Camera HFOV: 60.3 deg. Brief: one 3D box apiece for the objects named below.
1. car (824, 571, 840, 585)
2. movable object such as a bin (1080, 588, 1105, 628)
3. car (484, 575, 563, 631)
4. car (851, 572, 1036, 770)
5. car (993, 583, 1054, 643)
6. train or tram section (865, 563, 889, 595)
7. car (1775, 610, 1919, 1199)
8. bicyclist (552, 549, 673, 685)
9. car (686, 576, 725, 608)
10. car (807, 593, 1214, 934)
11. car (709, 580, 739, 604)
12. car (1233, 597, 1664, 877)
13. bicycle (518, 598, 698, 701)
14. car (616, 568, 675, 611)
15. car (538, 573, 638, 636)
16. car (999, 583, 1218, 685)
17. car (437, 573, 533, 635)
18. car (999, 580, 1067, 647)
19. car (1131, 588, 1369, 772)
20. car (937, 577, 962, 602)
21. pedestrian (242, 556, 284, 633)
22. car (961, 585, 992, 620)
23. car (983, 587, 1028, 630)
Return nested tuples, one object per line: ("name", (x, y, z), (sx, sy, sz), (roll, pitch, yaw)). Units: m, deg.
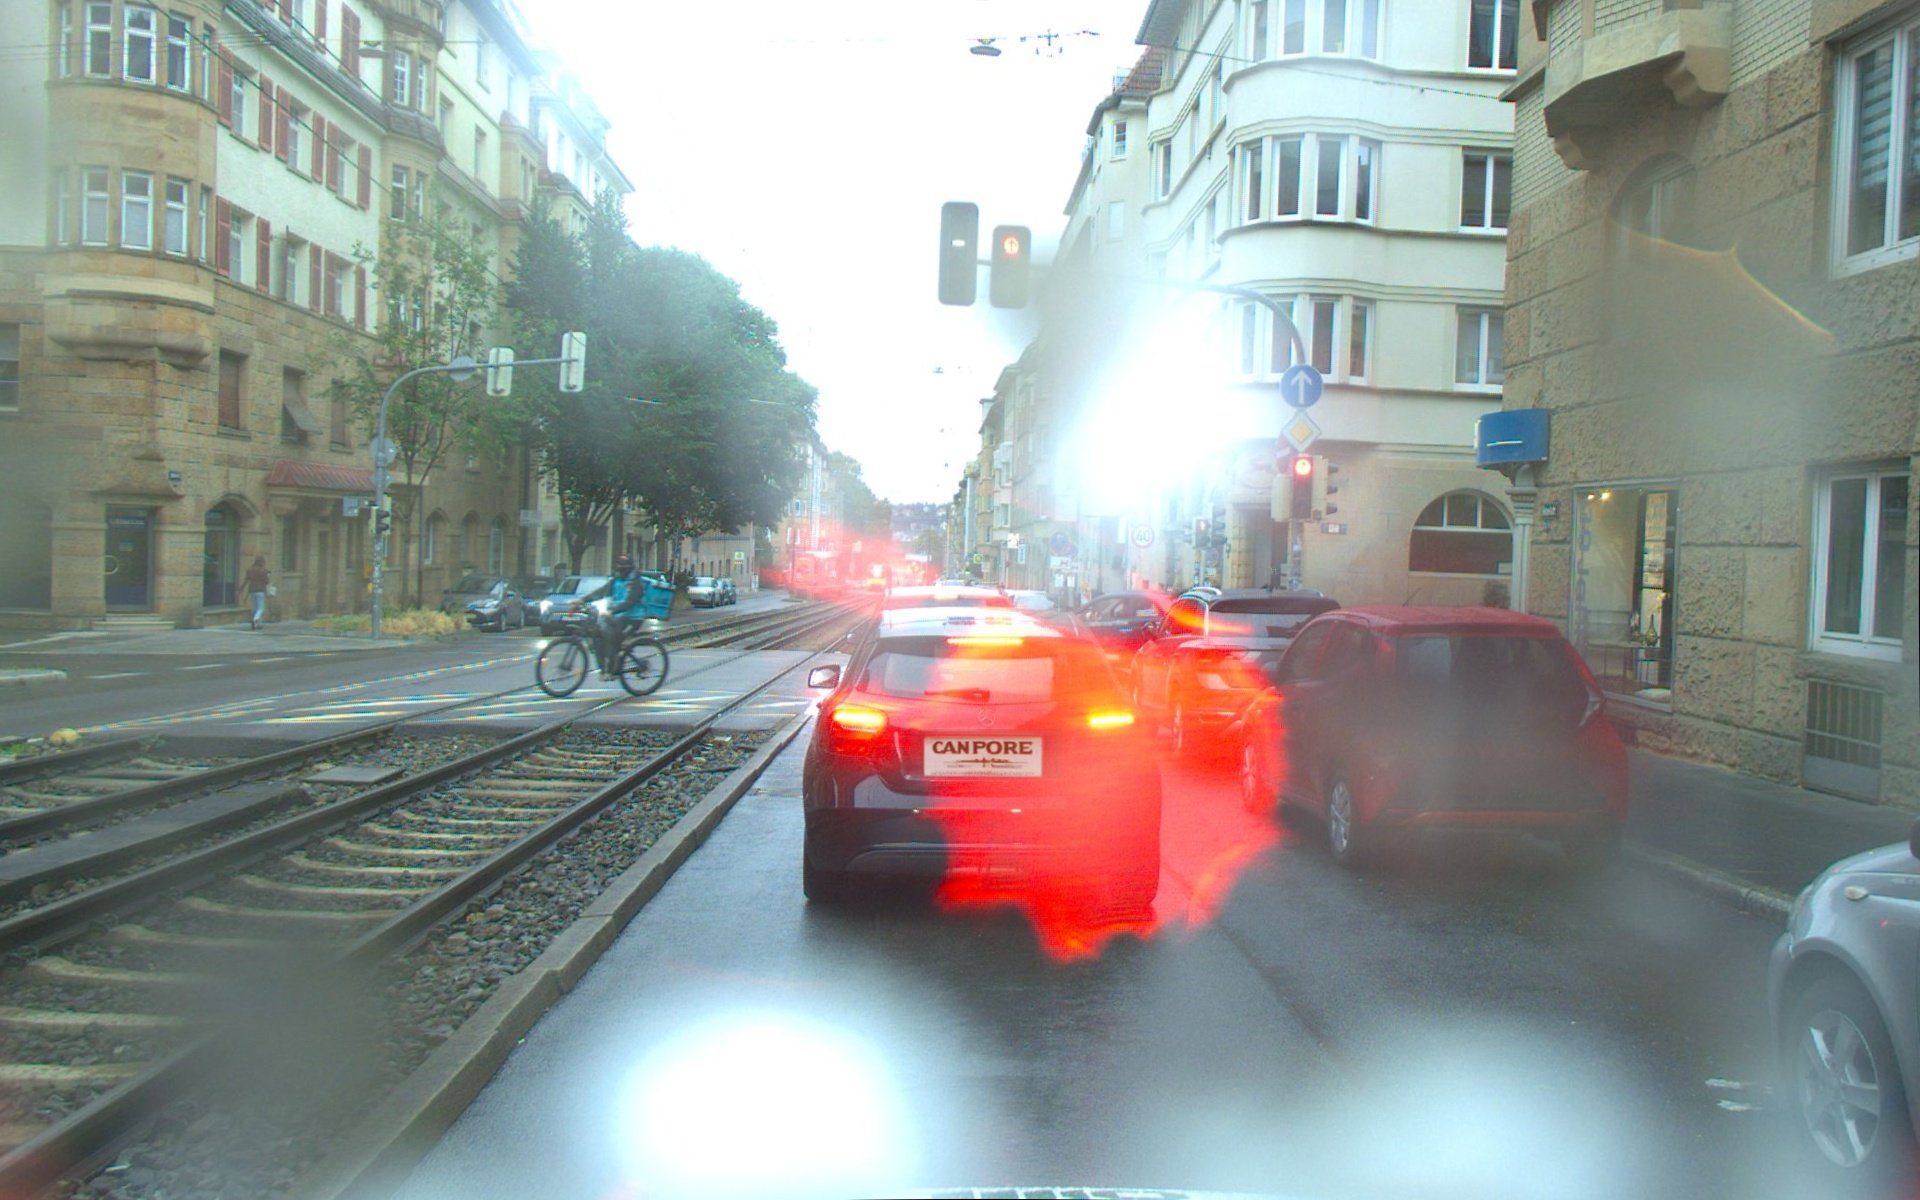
("car", (-12.297, -2.114, 158.992), (1.349, 1.271, 3.296), (1, 0, -2))
("movable object such as a bin", (4.764, 0.273, 59.644), (0.859, 1.413, 0.983), (1, -1, 3))
("car", (-13.276, 0.094, 50.520), (1.683, 1.639, 3.914), (1, 0, -5))
("car", (-0.171, 0.608, 15.834), (1.533, 1.637, 3.813), (1, 0, -1))
("car", (1.770, 0.354, 47.140), (1.513, 1.618, 3.547), (1, 0, -1))
("train or tram section", (-10.757, -2.666, 215.696), (2.726, 3.928, 10.427), (1, 0, -1))
("car", (3.130, 0.782, 3.101), (1.581, 1.493, 3.312), (0, 0, 0))
("bicyclist", (-4.297, 0.208, 20.447), (1.237, 1.625, 0.877), (1, -1, -32))
("car", (-13.660, -0.413, 88.964), (1.557, 1.608, 3.917), (1, 0, -1))
("car", (0.196, 0.726, 9.451), (1.792, 1.483, 4.103), (1, 0, -1))
("car", (-14.029, -0.473, 98.369), (1.419, 1.354, 3.270), (1, 0, -3))
("car", (2.911, 0.740, 10.561), (1.609, 1.473, 3.297), (1, 0, -3))
("bicycle", (-4.332, 0.600, 20.421), (2.011, 1.207, 0.817), (1, -1, -32))
("car", (-13.563, -0.436, 71.503), (1.837, 1.767, 3.917), (1, 0, -1))
("car", (-10.046, 0.129, 44.925), (1.860, 1.615, 3.972), (1, 0, -1))
("car", (2.656, 0.573, 29.531), (3.598, 1.664, 1.550), (1, 0, 20))
("car", (-13.011, 0.114, 45.494), (1.718, 1.579, 4.032), (1, 0, -4))
("car", (1.840, 0.330, 42.666), (1.513, 1.618, 3.547), (1, 0, -1))
("car", (2.635, 0.666, 15.796), (1.513, 1.512, 3.829), (1, 0, -1))
("car", (-0.855, -0.846, 133.666), (1.953, 1.909, 3.999), (1, 0, -1))
("pedestrian", (-15.695, -0.126, 37.238), (0.618, 1.702, 0.702), (1, -1, -1))
("car", (0.722, 0.099, 73.606), (1.268, 1.467, 2.928), (1, 0, -1))
("car", (1.663, 0.297, 61.549), (1.513, 1.512, 3.547), (1, 0, -1))
